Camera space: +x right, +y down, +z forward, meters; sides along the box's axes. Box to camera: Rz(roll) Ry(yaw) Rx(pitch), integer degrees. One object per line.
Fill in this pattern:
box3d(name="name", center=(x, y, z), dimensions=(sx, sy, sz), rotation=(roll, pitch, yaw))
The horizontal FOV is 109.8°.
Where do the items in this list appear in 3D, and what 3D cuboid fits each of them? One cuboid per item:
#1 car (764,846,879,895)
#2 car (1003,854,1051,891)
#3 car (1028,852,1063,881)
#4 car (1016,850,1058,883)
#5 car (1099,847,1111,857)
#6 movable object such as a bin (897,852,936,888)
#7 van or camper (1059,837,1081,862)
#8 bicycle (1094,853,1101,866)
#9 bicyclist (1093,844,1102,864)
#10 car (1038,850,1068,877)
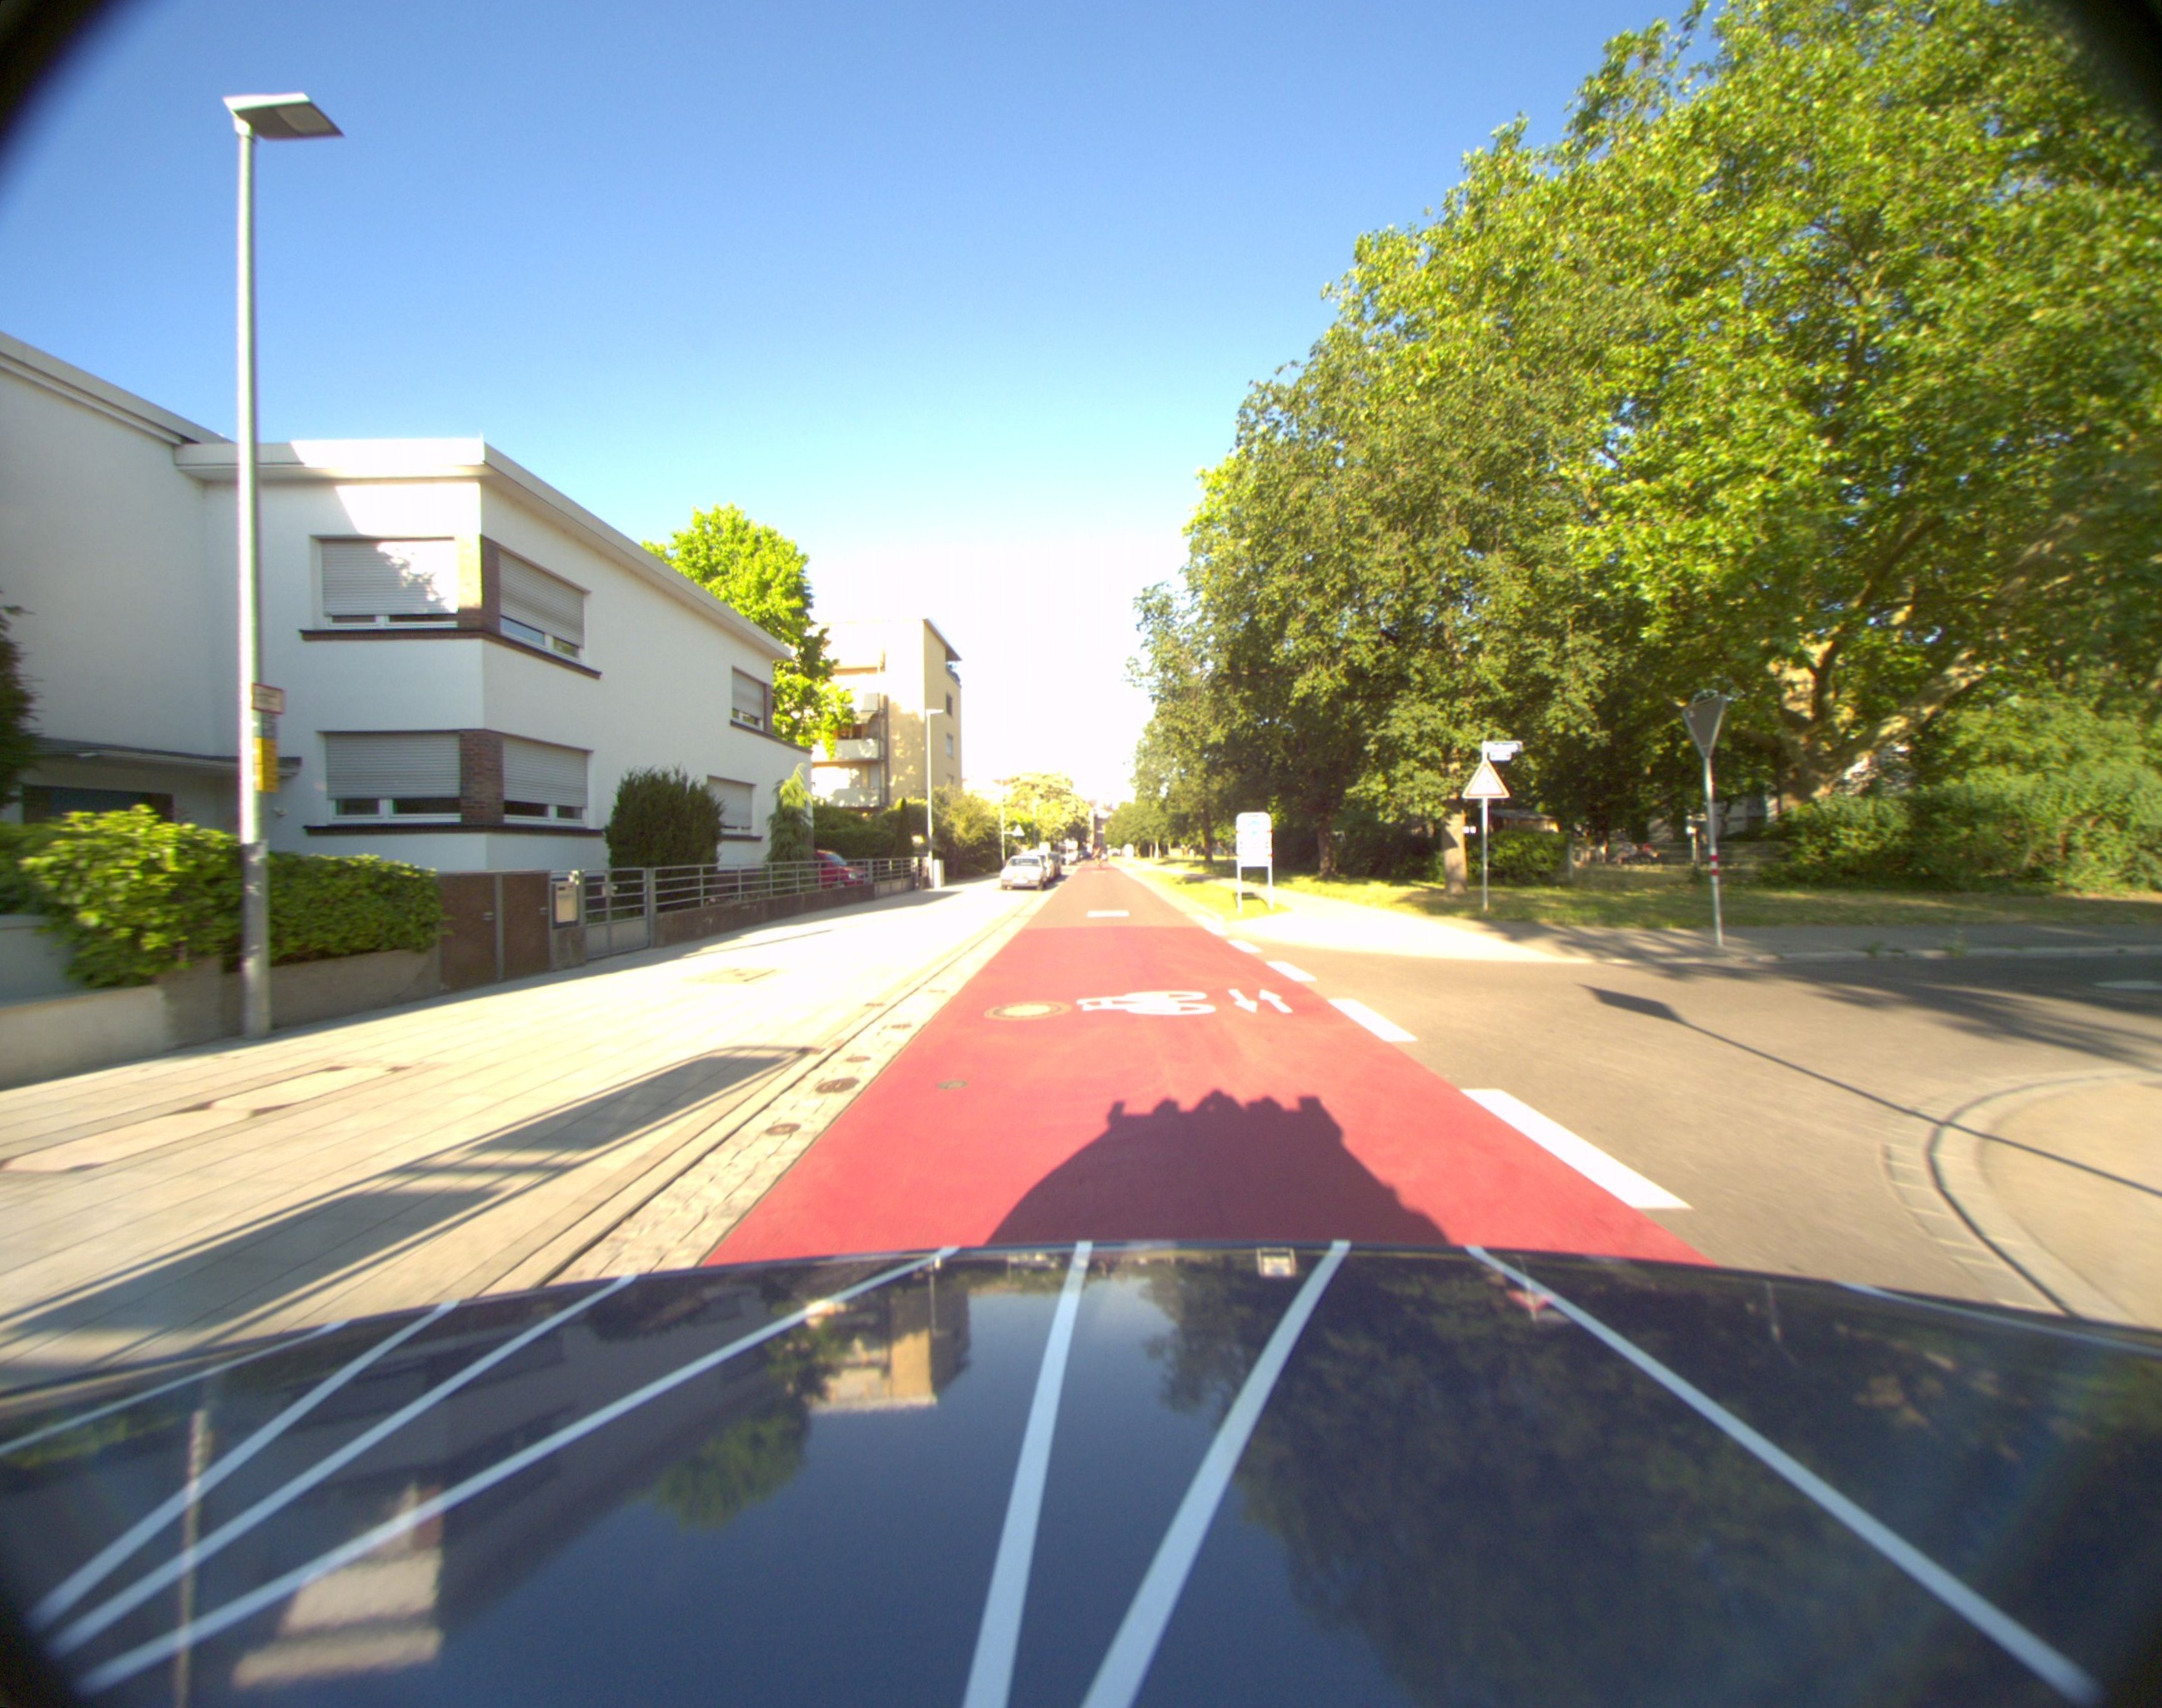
box3d(name="car", center=(-9.309, 0.581, 27.407), dimensions=(3.499, 1.632, 1.644), rotation=(-1, 1, 9))
box3d(name="car", center=(-2.197, 0.730, 31.971), dimensions=(1.567, 1.382, 4.374), rotation=(0, 1, 1))
box3d(name="car", center=(-1.958, 0.654, 42.670), dimensions=(1.683, 1.547, 4.144), rotation=(0, 1, 1))
box3d(name="car", center=(-2.111, 0.569, 37.721), dimensions=(1.682, 1.547, 4.130), rotation=(0, 1, 2))
box3d(name="car", center=(4.213, -0.371, 135.317), dimensions=(1.848, 1.837, 4.572), rotation=(-1, 0, -1))
box3d(name="movable object such as a bin", center=(-6.717, 0.649, 31.083), dimensions=(1.240, 1.424, 1.123), rotation=(-1, 1, 3))
box3d(name="van or camper", center=(-1.268, -0.535, 89.511), dimensions=(2.427, 2.767, 5.951), rotation=(1, 1, 0))
box3d(name="bicycle", center=(1.404, 0.472, 64.042), dimensions=(0.558, 1.026, 1.914), rotation=(0, 1, 1))
box3d(name="bicyclist", center=(1.376, -0.020, 63.913), dimensions=(0.683, 1.663, 1.172), rotation=(0, 2, 1))
box3d(name="car", center=(-1.753, 0.582, 48.193), dimensions=(1.714, 1.601, 4.168), rotation=(1, 0, 0))
